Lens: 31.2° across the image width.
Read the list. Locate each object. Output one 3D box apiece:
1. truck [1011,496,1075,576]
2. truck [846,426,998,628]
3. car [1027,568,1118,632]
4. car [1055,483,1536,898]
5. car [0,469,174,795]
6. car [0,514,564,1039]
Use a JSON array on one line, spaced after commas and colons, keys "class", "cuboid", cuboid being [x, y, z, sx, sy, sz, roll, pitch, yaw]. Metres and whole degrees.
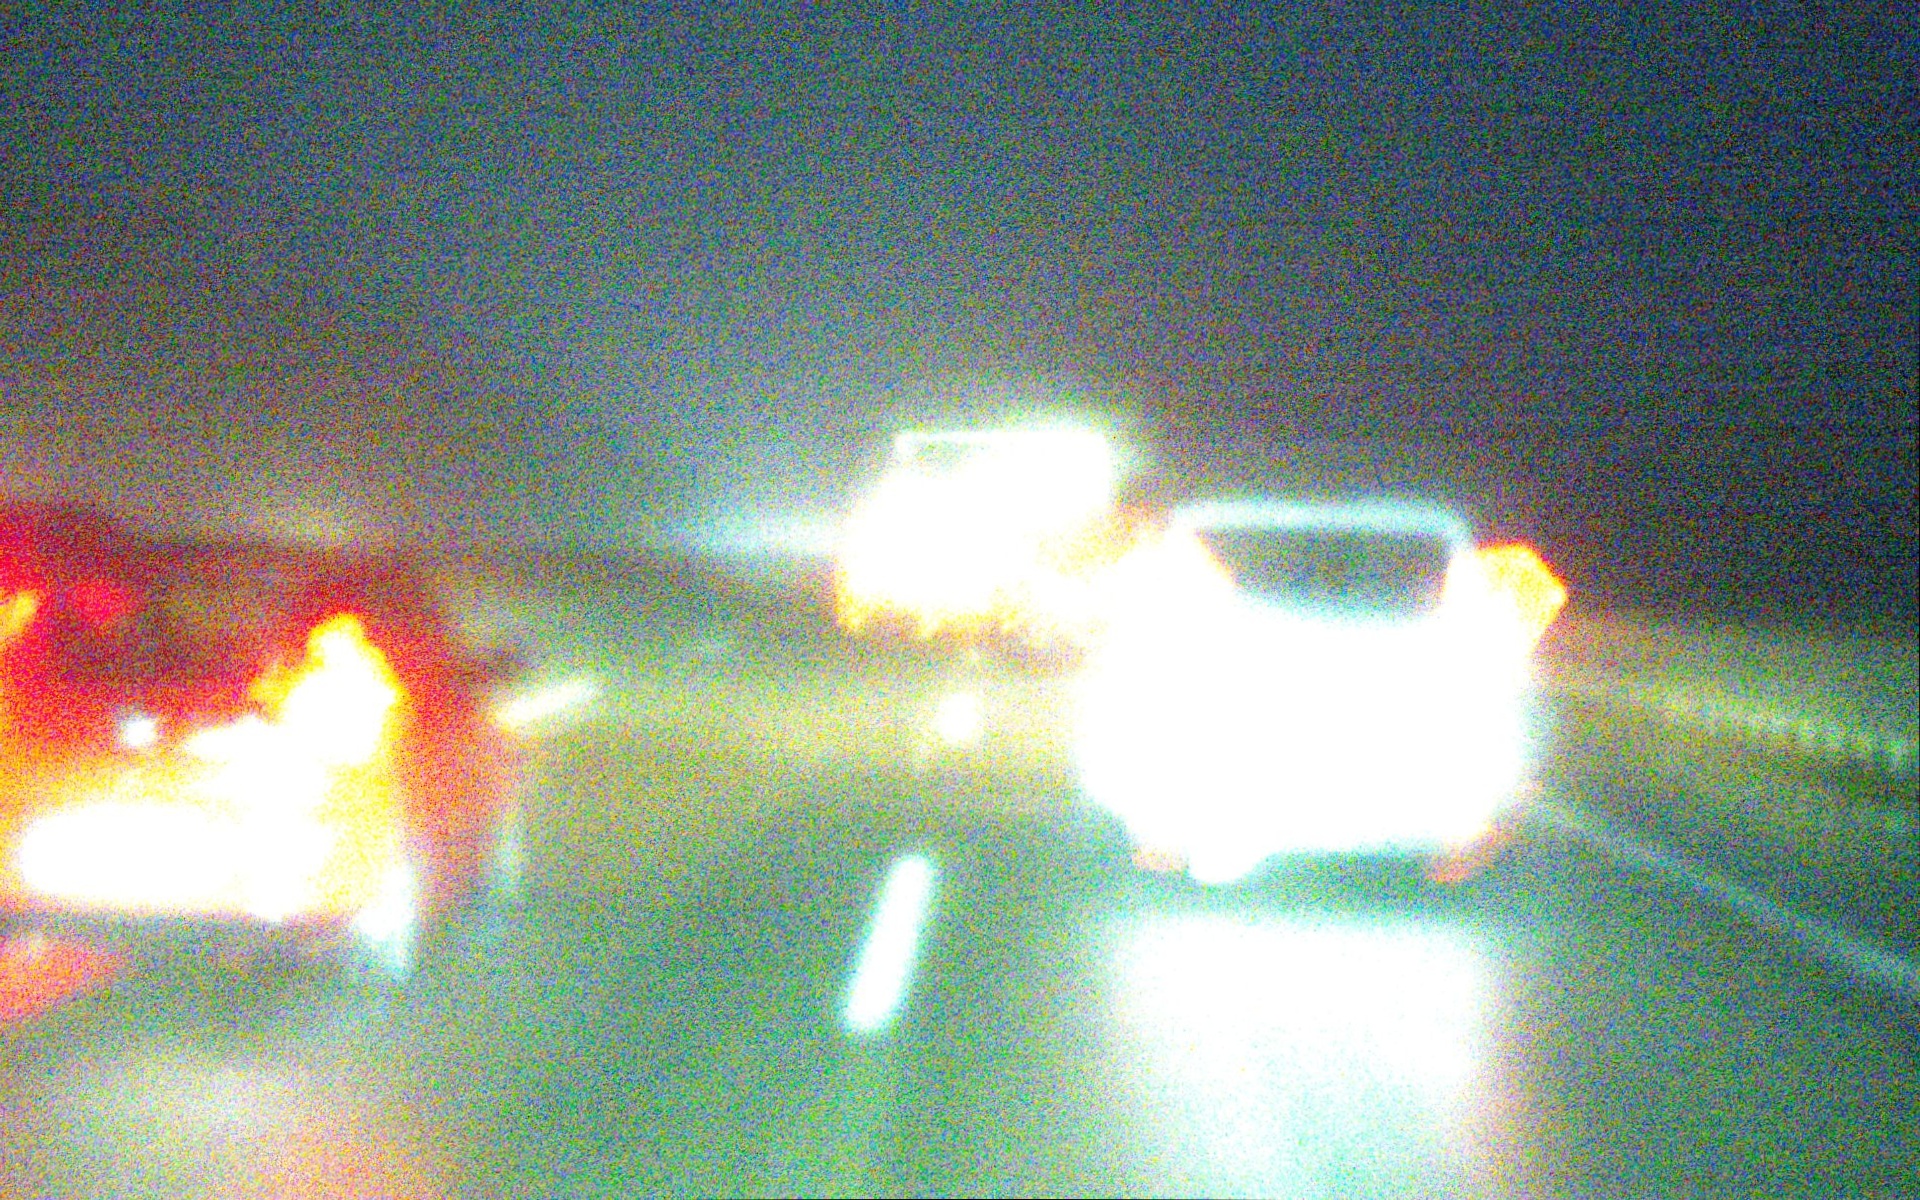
[{"class": "truck", "cuboid": [5.280, -4.037, 220.941, 3.824, 4.898, 11.606, 1, 0, 0]}, {"class": "truck", "cuboid": [-1.035, -2.020, 100.897, 4.167, 5.525, 13.074, 0, 0, 0]}, {"class": "car", "cuboid": [2.618, -0.017, 81.086, 1.890, 1.349, 4.000, 4, 1, -1]}, {"class": "car", "cuboid": [1.521, 0.387, 17.432, 1.953, 1.786, 5.124, 0, 0, 0]}, {"class": "car", "cuboid": [-6.185, 0.166, 20.098, 1.993, 1.771, 4.887, 0, 0, 1]}, {"class": "car", "cuboid": [-2.662, 0.530, 12.567, 1.916, 1.589, 4.233, 0, 0, 0]}]
